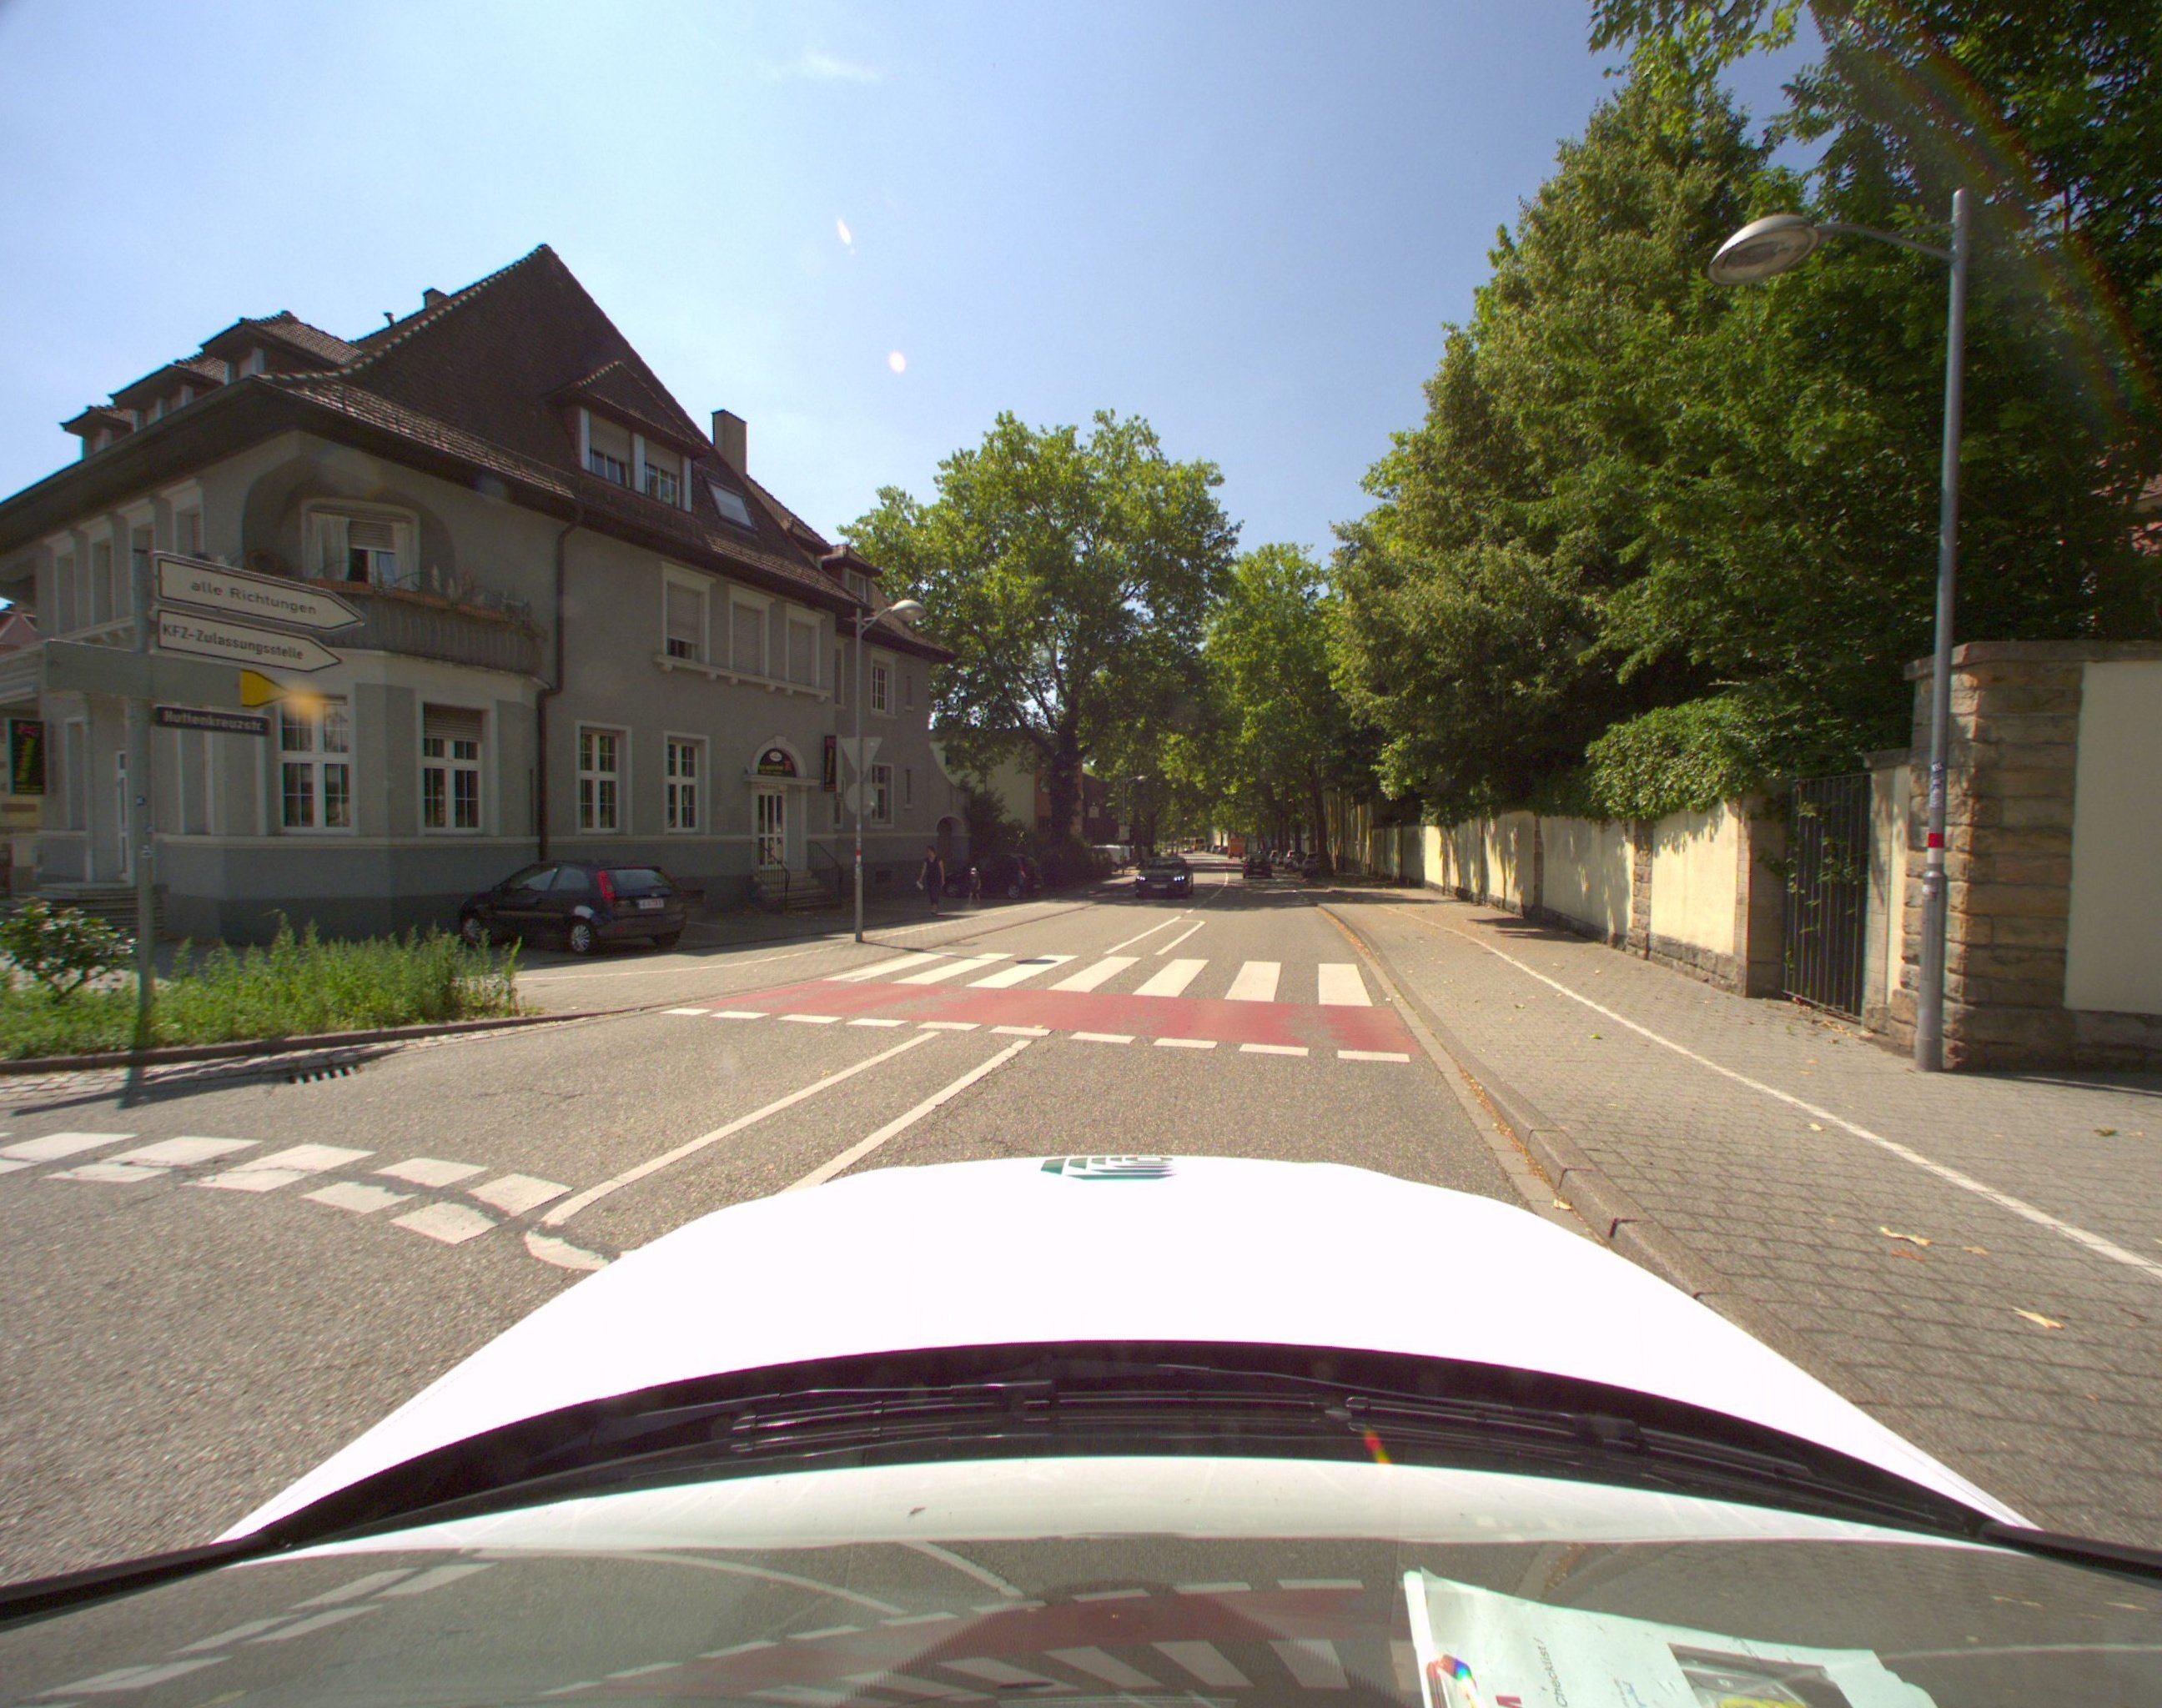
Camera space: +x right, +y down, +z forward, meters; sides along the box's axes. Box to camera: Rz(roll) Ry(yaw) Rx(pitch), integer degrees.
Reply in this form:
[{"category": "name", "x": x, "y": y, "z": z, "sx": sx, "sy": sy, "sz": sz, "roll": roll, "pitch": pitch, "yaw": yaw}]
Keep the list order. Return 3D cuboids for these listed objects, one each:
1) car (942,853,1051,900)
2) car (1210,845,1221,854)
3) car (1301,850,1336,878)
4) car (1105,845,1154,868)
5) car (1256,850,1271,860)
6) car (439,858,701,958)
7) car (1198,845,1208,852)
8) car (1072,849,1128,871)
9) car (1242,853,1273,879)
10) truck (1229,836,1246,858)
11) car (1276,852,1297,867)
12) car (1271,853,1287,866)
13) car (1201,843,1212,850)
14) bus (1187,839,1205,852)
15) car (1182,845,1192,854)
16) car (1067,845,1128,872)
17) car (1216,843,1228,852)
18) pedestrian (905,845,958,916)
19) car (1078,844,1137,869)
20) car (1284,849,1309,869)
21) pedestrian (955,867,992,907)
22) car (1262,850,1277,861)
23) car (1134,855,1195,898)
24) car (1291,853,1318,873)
[{"category": "car", "x": -2.930, "y": 0.751, "z": 28.387, "sx": 3.352, "sy": 1.546, "sz": 1.733, "roll": 0, "pitch": 0, "yaw": 21}, {"category": "car", "x": 27.234, "y": -0.952, "z": 164.840, "sx": 1.870, "sy": 1.685, "sz": 4.007, "roll": 0, "pitch": -1, "yaw": 6}, {"category": "car", "x": 14.515, "y": 0.579, "z": 50.044, "sx": 1.729, "sy": 1.557, "sz": 4.797, "roll": -1, "pitch": 1, "yaw": 12}, {"category": "car", "x": 4.322, "y": 0.209, "z": 71.968, "sx": 4.105, "sy": 1.804, "sz": 1.908, "roll": 2, "pitch": 0, "yaw": 8}, {"category": "car", "x": 26.785, "y": 0.168, "z": 119.728, "sx": 1.757, "sy": 1.374, "sz": 3.736, "roll": -1, "pitch": 0, "yaw": 6}, {"category": "car", "x": -8.397, "y": 0.797, "z": 13.412, "sx": 3.748, "sy": 1.460, "sz": 1.733, "roll": 0, "pitch": 0, "yaw": 21}, {"category": "car", "x": 27.787, "y": -1.253, "z": 185.419, "sx": 1.761, "sy": 1.374, "sz": 3.728, "roll": -1, "pitch": 0, "yaw": -1}, {"category": "car", "x": 1.442, "y": 0.415, "z": 61.746, "sx": 3.965, "sy": 1.515, "sz": 1.872, "roll": 2, "pitch": 0, "yaw": 8}, {"category": "car", "x": 10.603, "y": 0.669, "z": 49.031, "sx": 1.700, "sy": 1.447, "sz": 4.070, "roll": 0, "pitch": 1, "yaw": 10}, {"category": "truck", "x": 23.924, "y": -1.057, "z": 124.633, "sx": 2.356, "sy": 3.134, "sz": 5.783, "roll": 0, "pitch": -1, "yaw": 9}, {"category": "car", "x": 21.032, "y": 0.541, "z": 83.508, "sx": 1.756, "sy": 1.433, "sz": 3.886, "roll": -1, "pitch": 0, "yaw": 10}, {"category": "car", "x": 23.698, "y": 0.598, "z": 97.769, "sx": 1.568, "sy": 1.466, "sz": 3.886, "roll": -1, "pitch": 0, "yaw": 10}, {"category": "car", "x": 27.257, "y": -1.608, "z": 176.897, "sx": 1.762, "sy": 1.374, "sz": 3.727, "roll": -1, "pitch": 0, "yaw": -2}, {"category": "bus", "x": 28.726, "y": -2.107, "z": 203.409, "sx": 2.656, "sy": 3.150, "sz": 11.191, "roll": 0, "pitch": 0, "yaw": -1}, {"category": "car", "x": 21.291, "y": -0.920, "z": 163.394, "sx": 1.983, "sy": 1.666, "sz": 4.006, "roll": 0, "pitch": -1, "yaw": 6}, {"category": "car", "x": 1.194, "y": 0.303, "z": 57.196, "sx": 3.965, "sy": 1.792, "sz": 1.872, "roll": 2, "pitch": 0, "yaw": 8}, {"category": "car", "x": 27.217, "y": -1.245, "z": 157.642, "sx": 1.871, "sy": 1.685, "sz": 4.004, "roll": 0, "pitch": -1, "yaw": 4}, {"category": "pedestrian", "x": -3.734, "y": 0.644, "z": 20.416, "sx": 0.865, "sy": 1.742, "sz": 1.117, "roll": 0, "pitch": 0, "yaw": 17}, {"category": "car", "x": 2.135, "y": 0.166, "z": 64.362, "sx": 4.398, "sy": 1.804, "sz": 1.907, "roll": 2, "pitch": 0, "yaw": 8}, {"category": "car", "x": 19.270, "y": 0.413, "z": 72.847, "sx": 1.796, "sy": 1.689, "sz": 4.766, "roll": -1, "pitch": 0, "yaw": 11}, {"category": "pedestrian", "x": -3.098, "y": 0.948, "z": 23.572, "sx": 0.748, "sy": 1.122, "sz": 0.901, "roll": 0, "pitch": 0, "yaw": 17}, {"category": "car", "x": 25.544, "y": 0.219, "z": 110.478, "sx": 1.756, "sy": 1.466, "sz": 3.886, "roll": -1, "pitch": 0, "yaw": 10}, {"category": "car", "x": 3.085, "y": 0.739, "z": 29.317, "sx": 1.757, "sy": 1.426, "sz": 4.407, "roll": 0, "pitch": 0, "yaw": 12}, {"category": "car", "x": 16.818, "y": 0.634, "z": 61.429, "sx": 1.611, "sy": 1.439, "sz": 4.446, "roll": -1, "pitch": 0, "yaw": 11}]
